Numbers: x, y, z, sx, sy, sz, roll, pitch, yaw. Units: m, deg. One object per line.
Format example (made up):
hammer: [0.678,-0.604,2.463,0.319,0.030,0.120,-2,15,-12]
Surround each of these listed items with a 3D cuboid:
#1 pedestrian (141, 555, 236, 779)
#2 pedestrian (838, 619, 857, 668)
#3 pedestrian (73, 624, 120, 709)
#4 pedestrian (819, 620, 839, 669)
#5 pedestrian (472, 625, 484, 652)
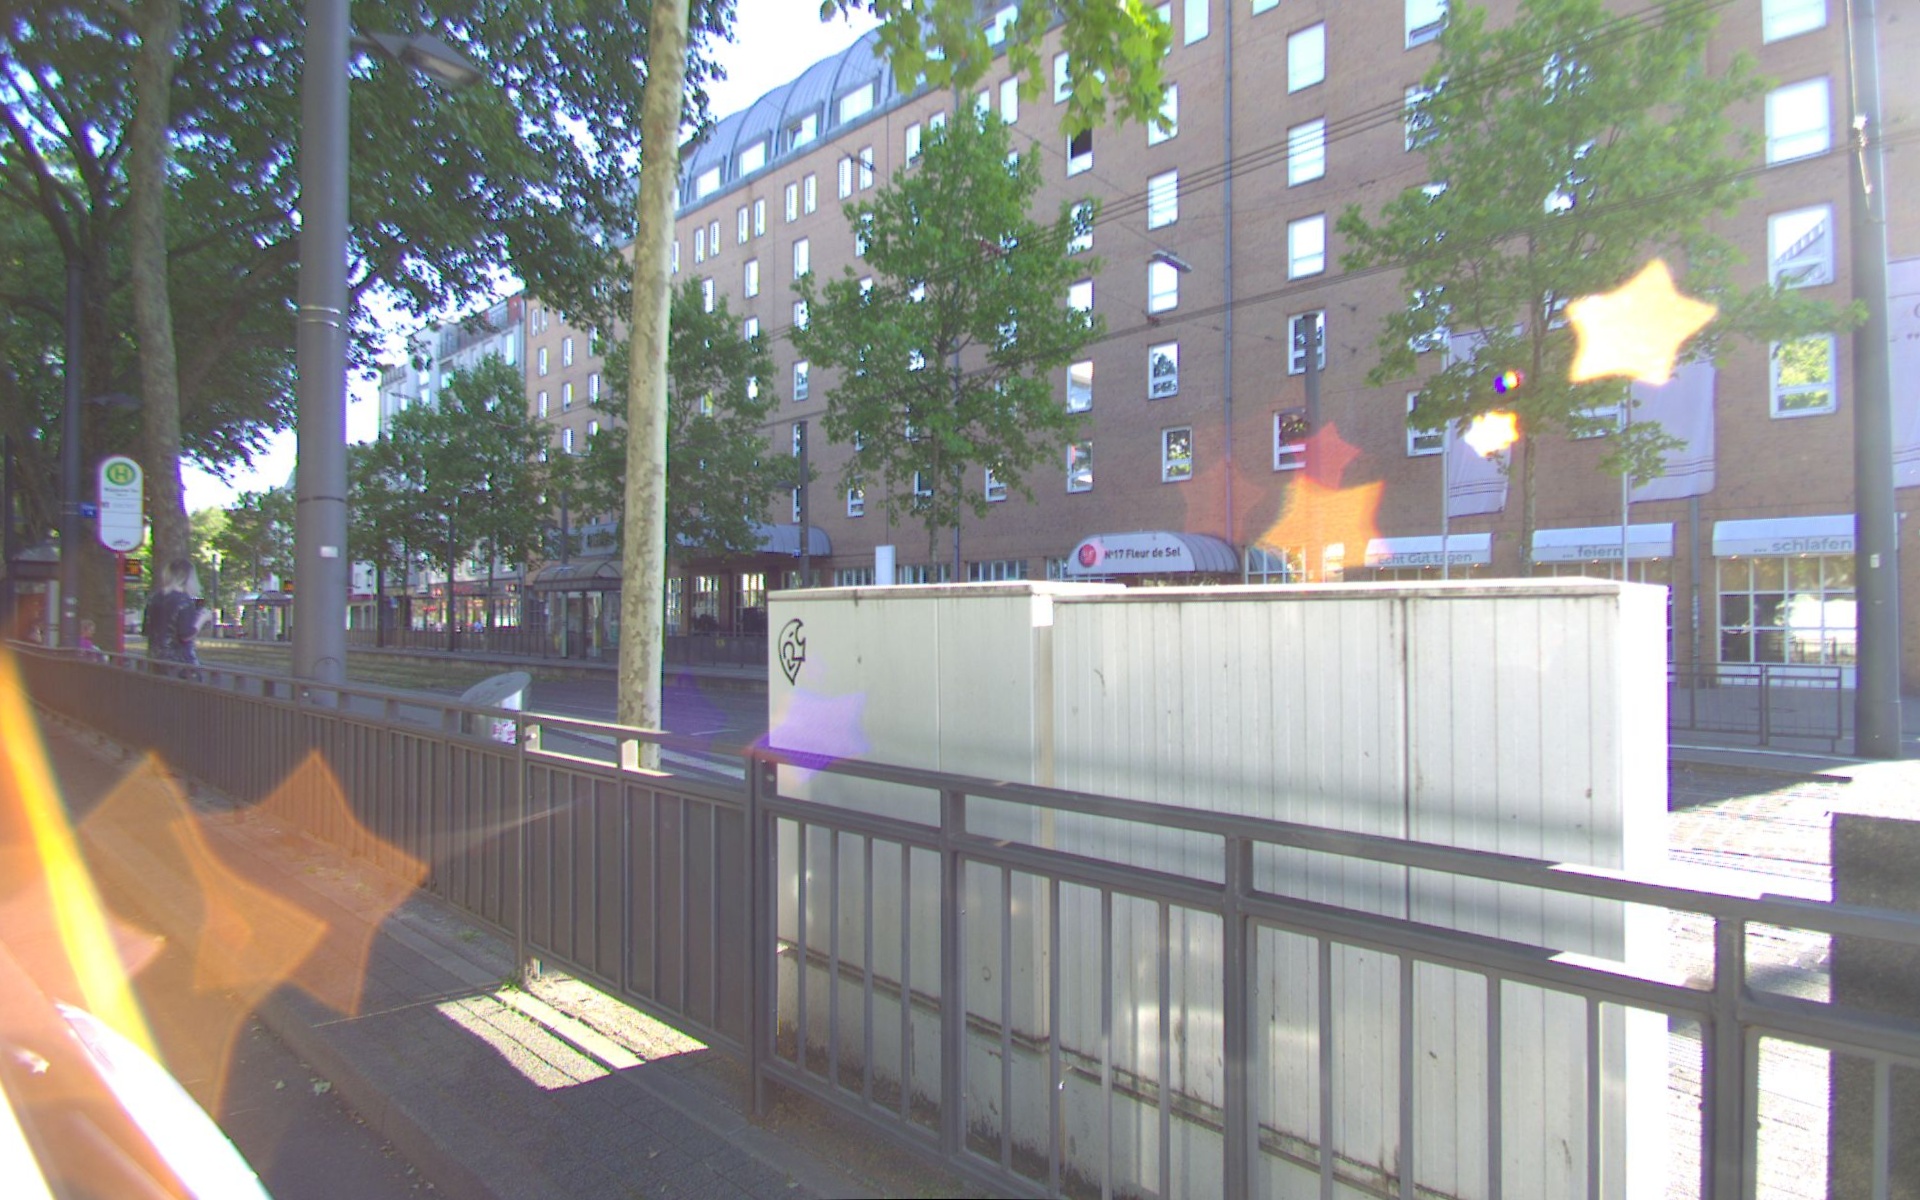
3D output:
pedestrian: [-6.638,0.552,8.708,0.524,1.848,0.536,-1,0,41]
pedestrian: [-4.082,1.575,36.791,0.437,1.748,0.545,1,-2,-42]
pedestrian: [-13.974,1.058,16.380,0.534,1.327,0.525,-1,0,-37]
pedestrian: [-4.692,1.585,36.275,0.472,1.748,0.545,1,-2,-42]
pedestrian: [-31.588,2.539,66.301,0.574,1.748,0.497,-2,-2,43]
